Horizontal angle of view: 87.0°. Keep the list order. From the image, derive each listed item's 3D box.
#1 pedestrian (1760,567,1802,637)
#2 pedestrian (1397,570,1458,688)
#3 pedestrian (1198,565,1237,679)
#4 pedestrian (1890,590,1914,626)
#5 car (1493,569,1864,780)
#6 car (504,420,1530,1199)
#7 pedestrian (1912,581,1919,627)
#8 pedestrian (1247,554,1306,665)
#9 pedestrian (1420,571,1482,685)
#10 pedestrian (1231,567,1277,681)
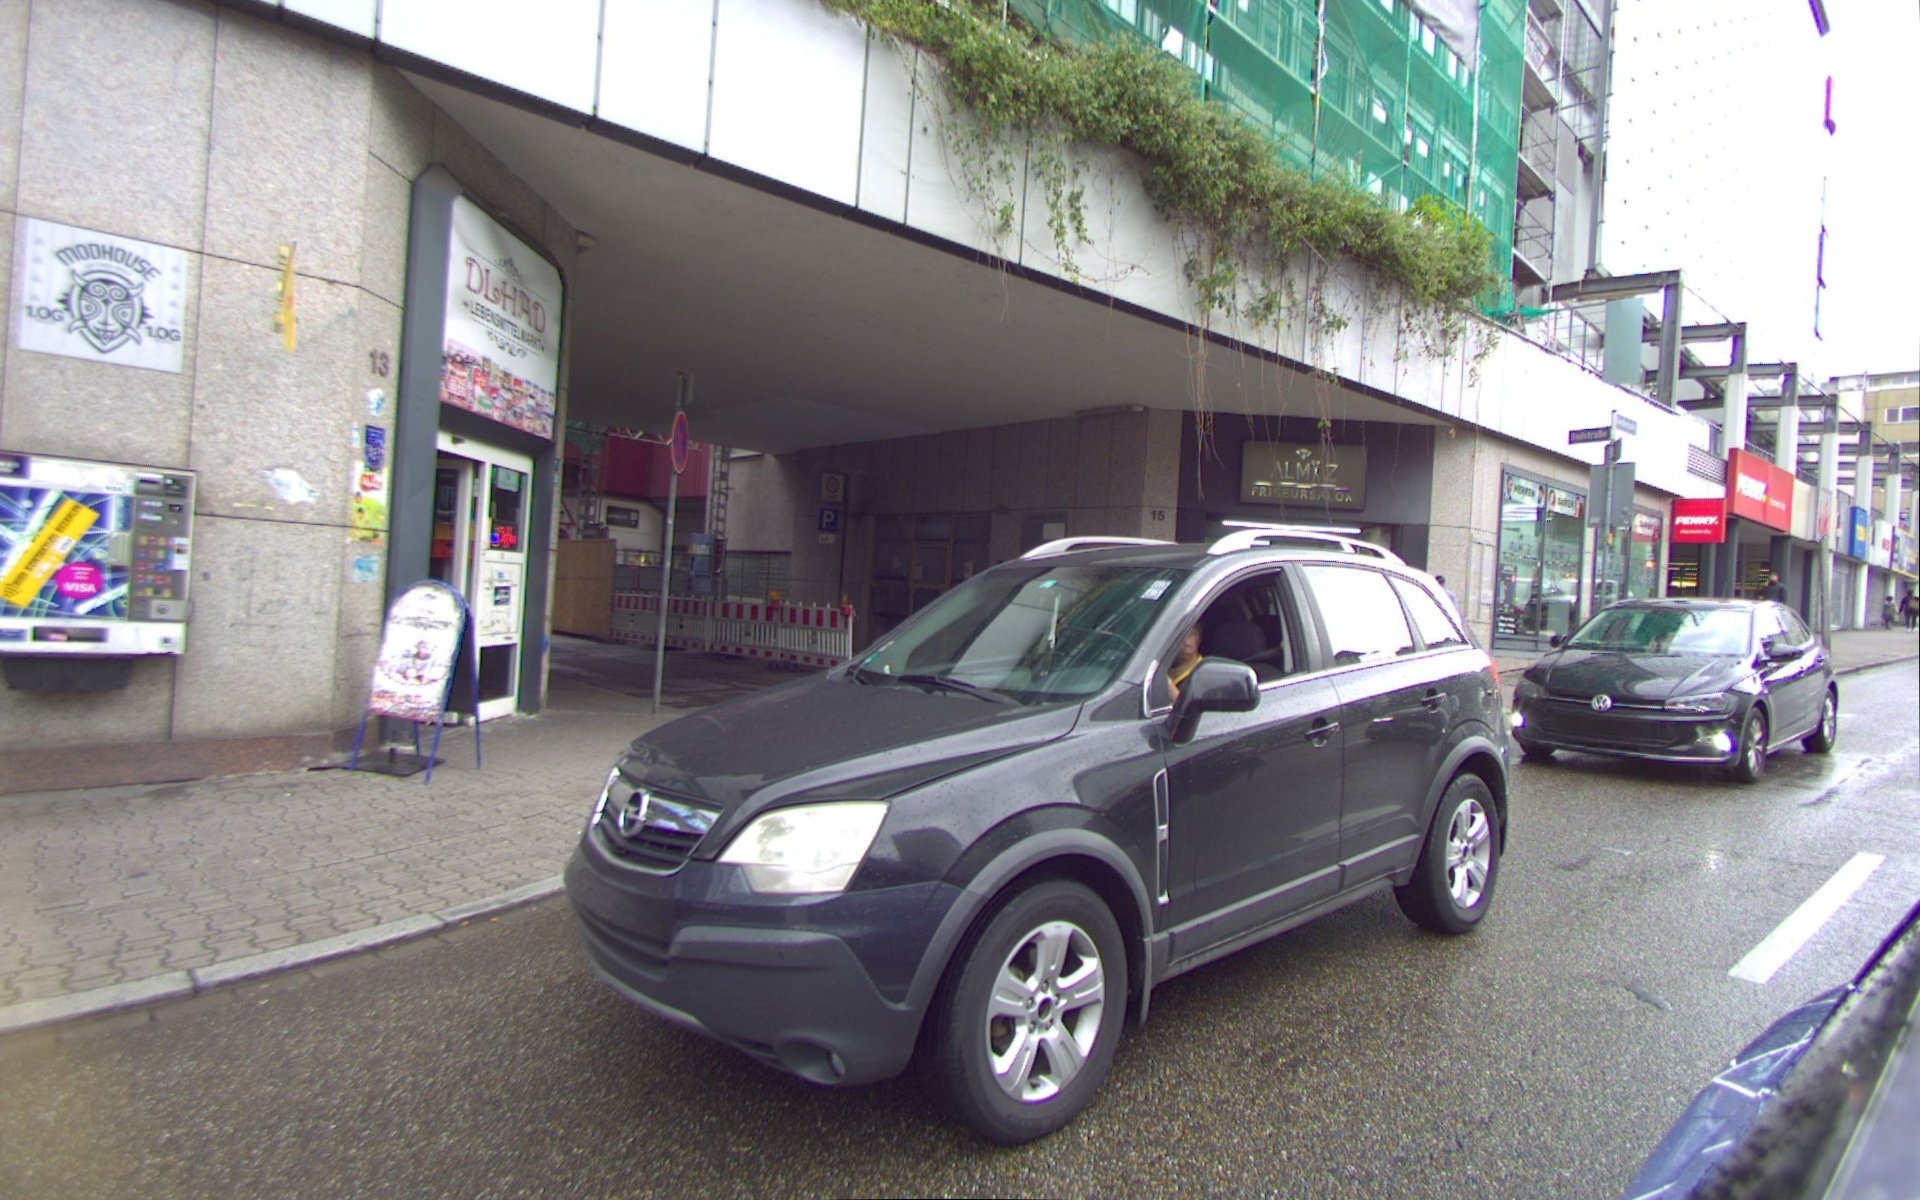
[{"bbox_3d":[20.371,0.043,25.109,0.499,1.699,0.581,0,2,-19],"label":"pedestrian"},{"bbox_3d":[6.765,0.392,14.647,0.578,1.647,0.666,3,3,44],"label":"pedestrian"},{"bbox_3d":[3.965,0.325,15.601,0.474,1.729,0.467,0,0,1],"label":"pedestrian"},{"bbox_3d":[31.312,0.259,33.642,0.570,1.181,0.509,-1,3,-42],"label":"pedestrian"},{"bbox_3d":[6.709,0.553,9.292,4.088,1.523,1.759,1,0,-39],"label":"car"},{"bbox_3d":[0.568,0.532,4.127,4.090,1.788,1.763,1,0,-40],"label":"car"},{"bbox_3d":[31.665,0.137,33.204,0.570,1.519,0.509,-1,3,-42],"label":"pedestrian"},{"bbox_3d":[5.414,0.141,17.355,0.730,1.838,0.773,2,2,3],"label":"pedestrian"},{"bbox_3d":[7.410,0.396,15.266,0.721,1.663,0.637,-1,1,-44],"label":"pedestrian"},{"bbox_3d":[4.273,0.334,14.709,0.630,1.615,0.574,0,1,17],"label":"pedestrian"}]
